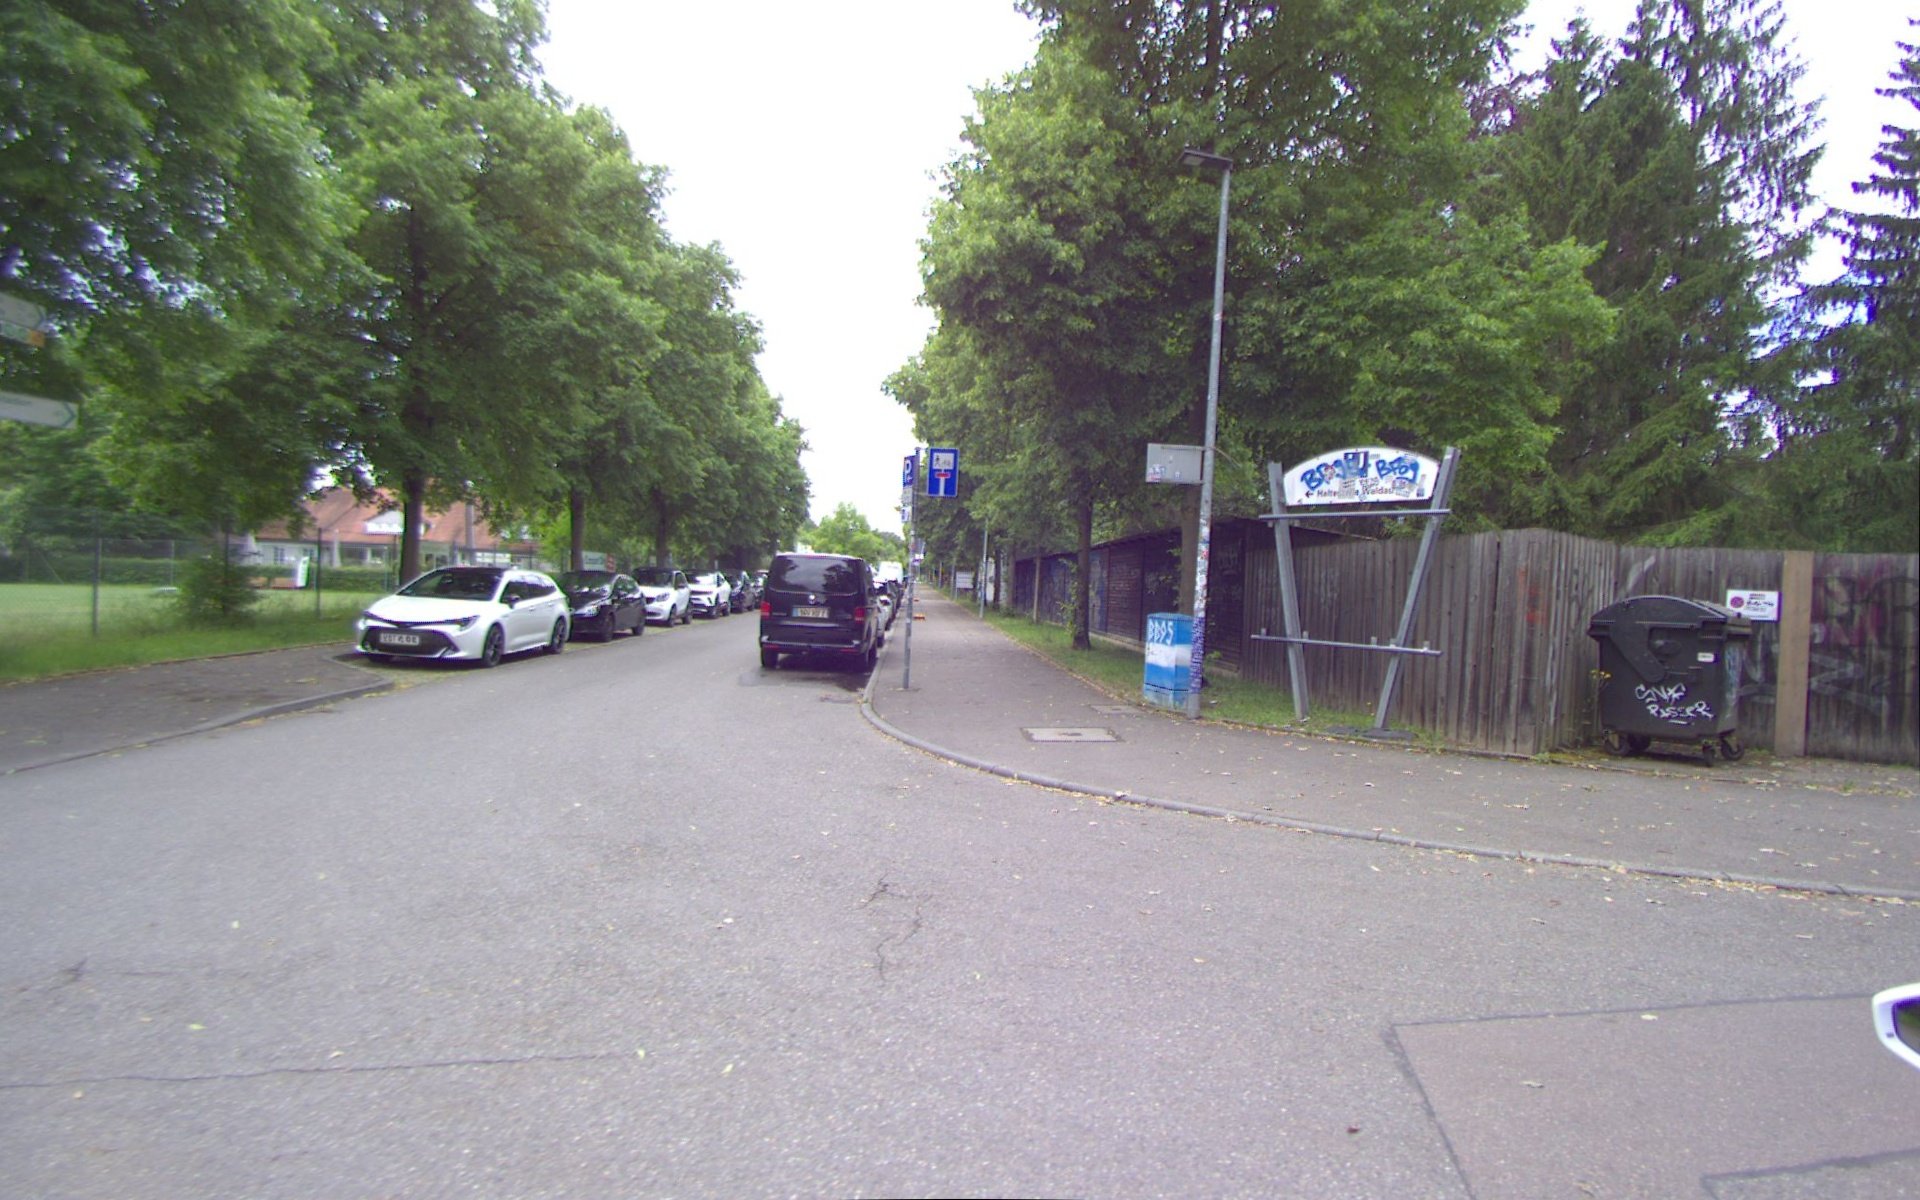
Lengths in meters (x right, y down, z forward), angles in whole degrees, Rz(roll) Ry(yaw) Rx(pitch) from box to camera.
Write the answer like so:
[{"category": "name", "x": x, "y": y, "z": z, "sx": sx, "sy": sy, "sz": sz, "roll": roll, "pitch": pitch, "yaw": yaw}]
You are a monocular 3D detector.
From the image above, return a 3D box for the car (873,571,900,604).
[{"category": "car", "x": -4.576, "y": -0.776, "z": 63.025, "sx": 1.445, "sy": 1.994, "sz": 3.188, "roll": 2, "pitch": 1, "yaw": -1}]

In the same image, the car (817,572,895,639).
[{"category": "car", "x": -2.502, "y": 0.095, "z": 24.818, "sx": 1.571, "sy": 1.501, "sz": 3.520, "roll": 2, "pitch": 1, "yaw": -1}]

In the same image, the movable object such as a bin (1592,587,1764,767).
[{"category": "movable object such as a bin", "x": 6.496, "y": 0.644, "z": 9.080, "sx": 1.064, "sy": 1.462, "sz": 1.278, "roll": 2, "pitch": 0, "yaw": 44}]

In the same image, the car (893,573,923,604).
[{"category": "car", "x": -2.699, "y": -0.614, "z": 52.641, "sx": 1.445, "sy": 1.501, "sz": 3.188, "roll": 2, "pitch": 1, "yaw": -1}]

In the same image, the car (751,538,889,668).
[{"category": "car", "x": -2.412, "y": 0.018, "z": 18.383, "sx": 1.955, "sy": 2.041, "sz": 4.107, "roll": 2, "pitch": 1, "yaw": -1}]

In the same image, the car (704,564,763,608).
[{"category": "car", "x": -8.439, "y": -0.525, "z": 37.633, "sx": 1.568, "sy": 1.477, "sz": 3.191, "roll": 4, "pitch": 1, "yaw": -4}]

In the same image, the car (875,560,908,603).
[{"category": "car", "x": -5.144, "y": -1.405, "z": 76.078, "sx": 2.148, "sy": 3.056, "sz": 4.896, "roll": 2, "pitch": 1, "yaw": -1}]

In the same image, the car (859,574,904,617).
[{"category": "car", "x": -2.918, "y": -0.187, "z": 37.632, "sx": 1.445, "sy": 1.501, "sz": 3.188, "roll": 2, "pitch": 1, "yaw": -1}]

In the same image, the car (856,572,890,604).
[{"category": "car", "x": -4.470, "y": -0.607, "z": 51.945, "sx": 1.445, "sy": 1.552, "sz": 3.188, "roll": 2, "pitch": 1, "yaw": -1}]

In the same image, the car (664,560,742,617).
[{"category": "car", "x": -8.338, "y": -0.388, "z": 32.858, "sx": 1.665, "sy": 1.617, "sz": 3.997, "roll": 4, "pitch": 1, "yaw": -4}]

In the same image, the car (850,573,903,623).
[{"category": "car", "x": -2.648, "y": -0.078, "z": 32.474, "sx": 1.445, "sy": 1.501, "sz": 3.188, "roll": 2, "pitch": 1, "yaw": -1}]

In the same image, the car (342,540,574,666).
[{"category": "car", "x": -7.648, "y": 0.011, "z": 15.790, "sx": 1.737, "sy": 1.617, "sz": 4.213, "roll": 3, "pitch": 1, "yaw": -5}]

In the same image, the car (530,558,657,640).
[{"category": "car", "x": -7.719, "y": -0.047, "z": 21.475, "sx": 1.521, "sy": 1.474, "sz": 3.662, "roll": 4, "pitch": 1, "yaw": -5}]

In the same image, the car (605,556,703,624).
[{"category": "car", "x": -8.449, "y": -0.293, "z": 28.039, "sx": 1.665, "sy": 1.617, "sz": 3.997, "roll": 4, "pitch": 1, "yaw": -4}]
